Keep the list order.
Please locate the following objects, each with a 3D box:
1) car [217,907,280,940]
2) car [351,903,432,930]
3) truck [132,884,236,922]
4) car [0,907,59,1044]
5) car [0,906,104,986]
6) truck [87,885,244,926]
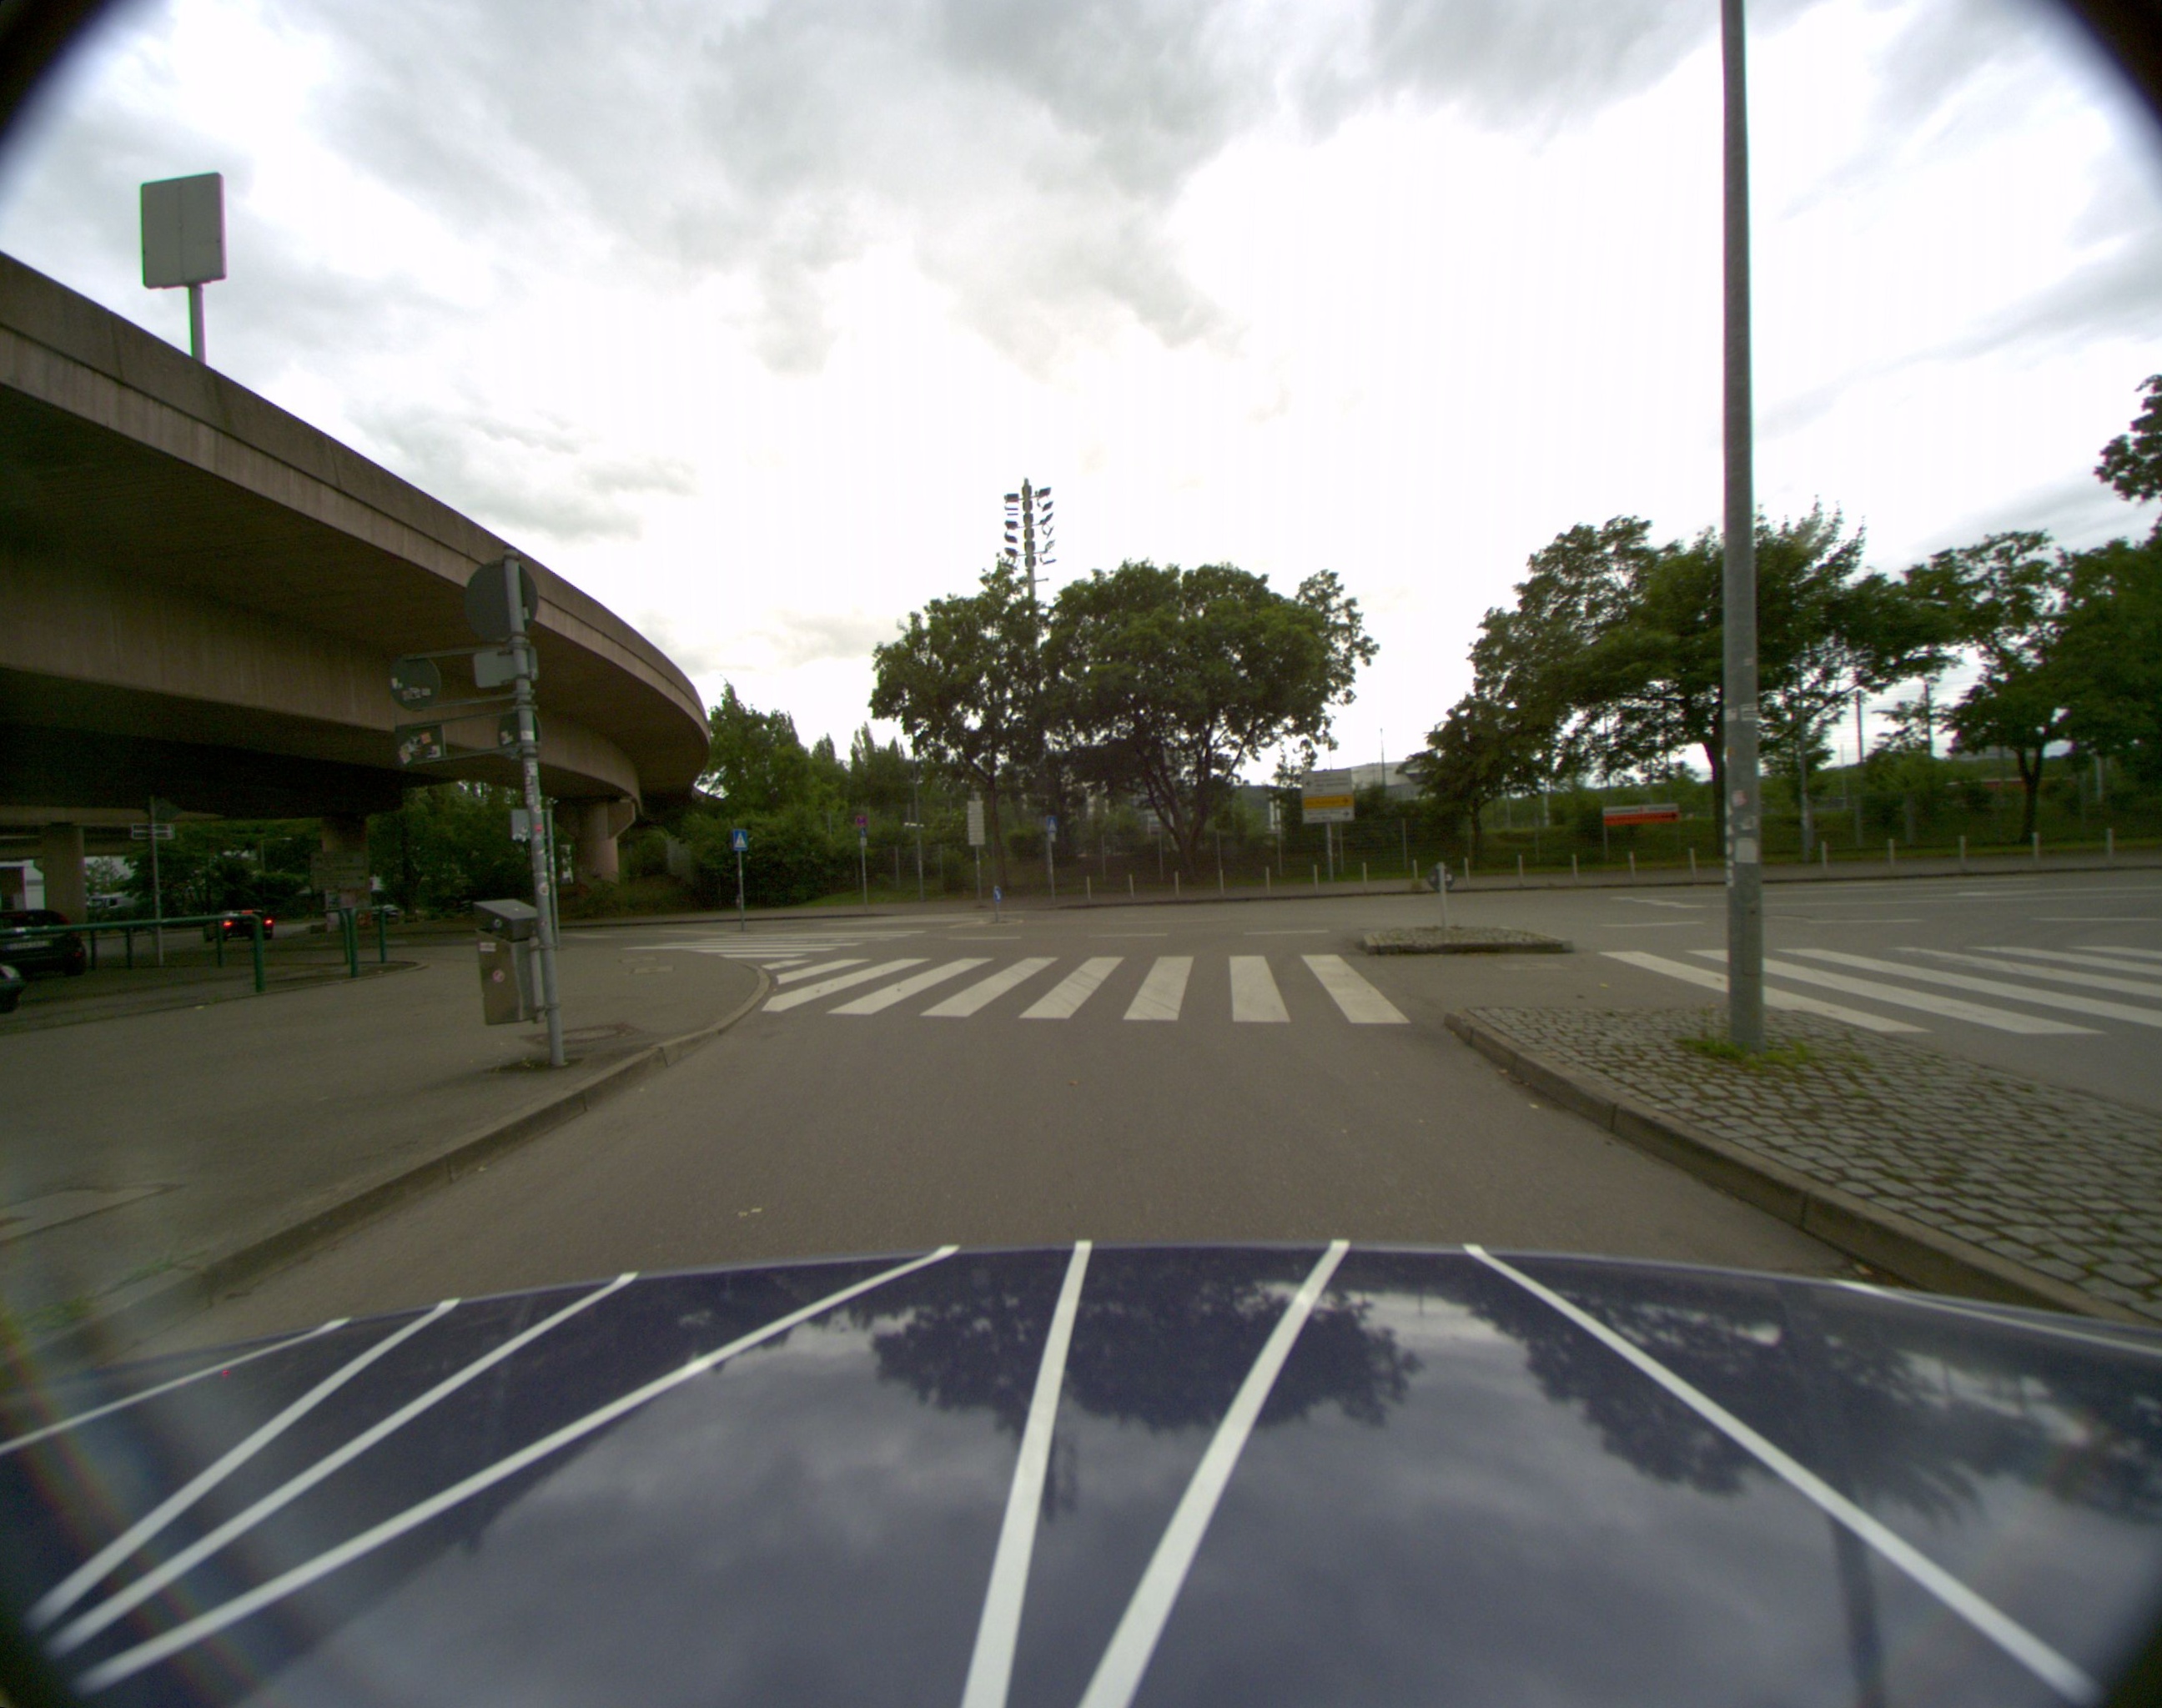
[{"bbox_3d":[-45.364,3.744,41.376,4.538,1.565,1.849,-3,-1,37],"label":"car"},{"bbox_3d":[-49.213,4.429,54.379,1.828,1.422,4.771,-5,0,-8],"label":"car"},{"bbox_3d":[-90.774,4.915,77.050,2.266,3.388,6.421,-2,0,17],"label":"truck"},{"bbox_3d":[-11.730,1.292,6.186,1.508,1.322,3.702,-5,0,11],"label":"car"},{"bbox_3d":[-22.055,1.892,15.464,3.572,1.389,1.613,-3,1,21],"label":"car"},{"bbox_3d":[-93.662,5.166,78.127,2.267,3.477,10.227,-2,0,14],"label":"truck"}]
